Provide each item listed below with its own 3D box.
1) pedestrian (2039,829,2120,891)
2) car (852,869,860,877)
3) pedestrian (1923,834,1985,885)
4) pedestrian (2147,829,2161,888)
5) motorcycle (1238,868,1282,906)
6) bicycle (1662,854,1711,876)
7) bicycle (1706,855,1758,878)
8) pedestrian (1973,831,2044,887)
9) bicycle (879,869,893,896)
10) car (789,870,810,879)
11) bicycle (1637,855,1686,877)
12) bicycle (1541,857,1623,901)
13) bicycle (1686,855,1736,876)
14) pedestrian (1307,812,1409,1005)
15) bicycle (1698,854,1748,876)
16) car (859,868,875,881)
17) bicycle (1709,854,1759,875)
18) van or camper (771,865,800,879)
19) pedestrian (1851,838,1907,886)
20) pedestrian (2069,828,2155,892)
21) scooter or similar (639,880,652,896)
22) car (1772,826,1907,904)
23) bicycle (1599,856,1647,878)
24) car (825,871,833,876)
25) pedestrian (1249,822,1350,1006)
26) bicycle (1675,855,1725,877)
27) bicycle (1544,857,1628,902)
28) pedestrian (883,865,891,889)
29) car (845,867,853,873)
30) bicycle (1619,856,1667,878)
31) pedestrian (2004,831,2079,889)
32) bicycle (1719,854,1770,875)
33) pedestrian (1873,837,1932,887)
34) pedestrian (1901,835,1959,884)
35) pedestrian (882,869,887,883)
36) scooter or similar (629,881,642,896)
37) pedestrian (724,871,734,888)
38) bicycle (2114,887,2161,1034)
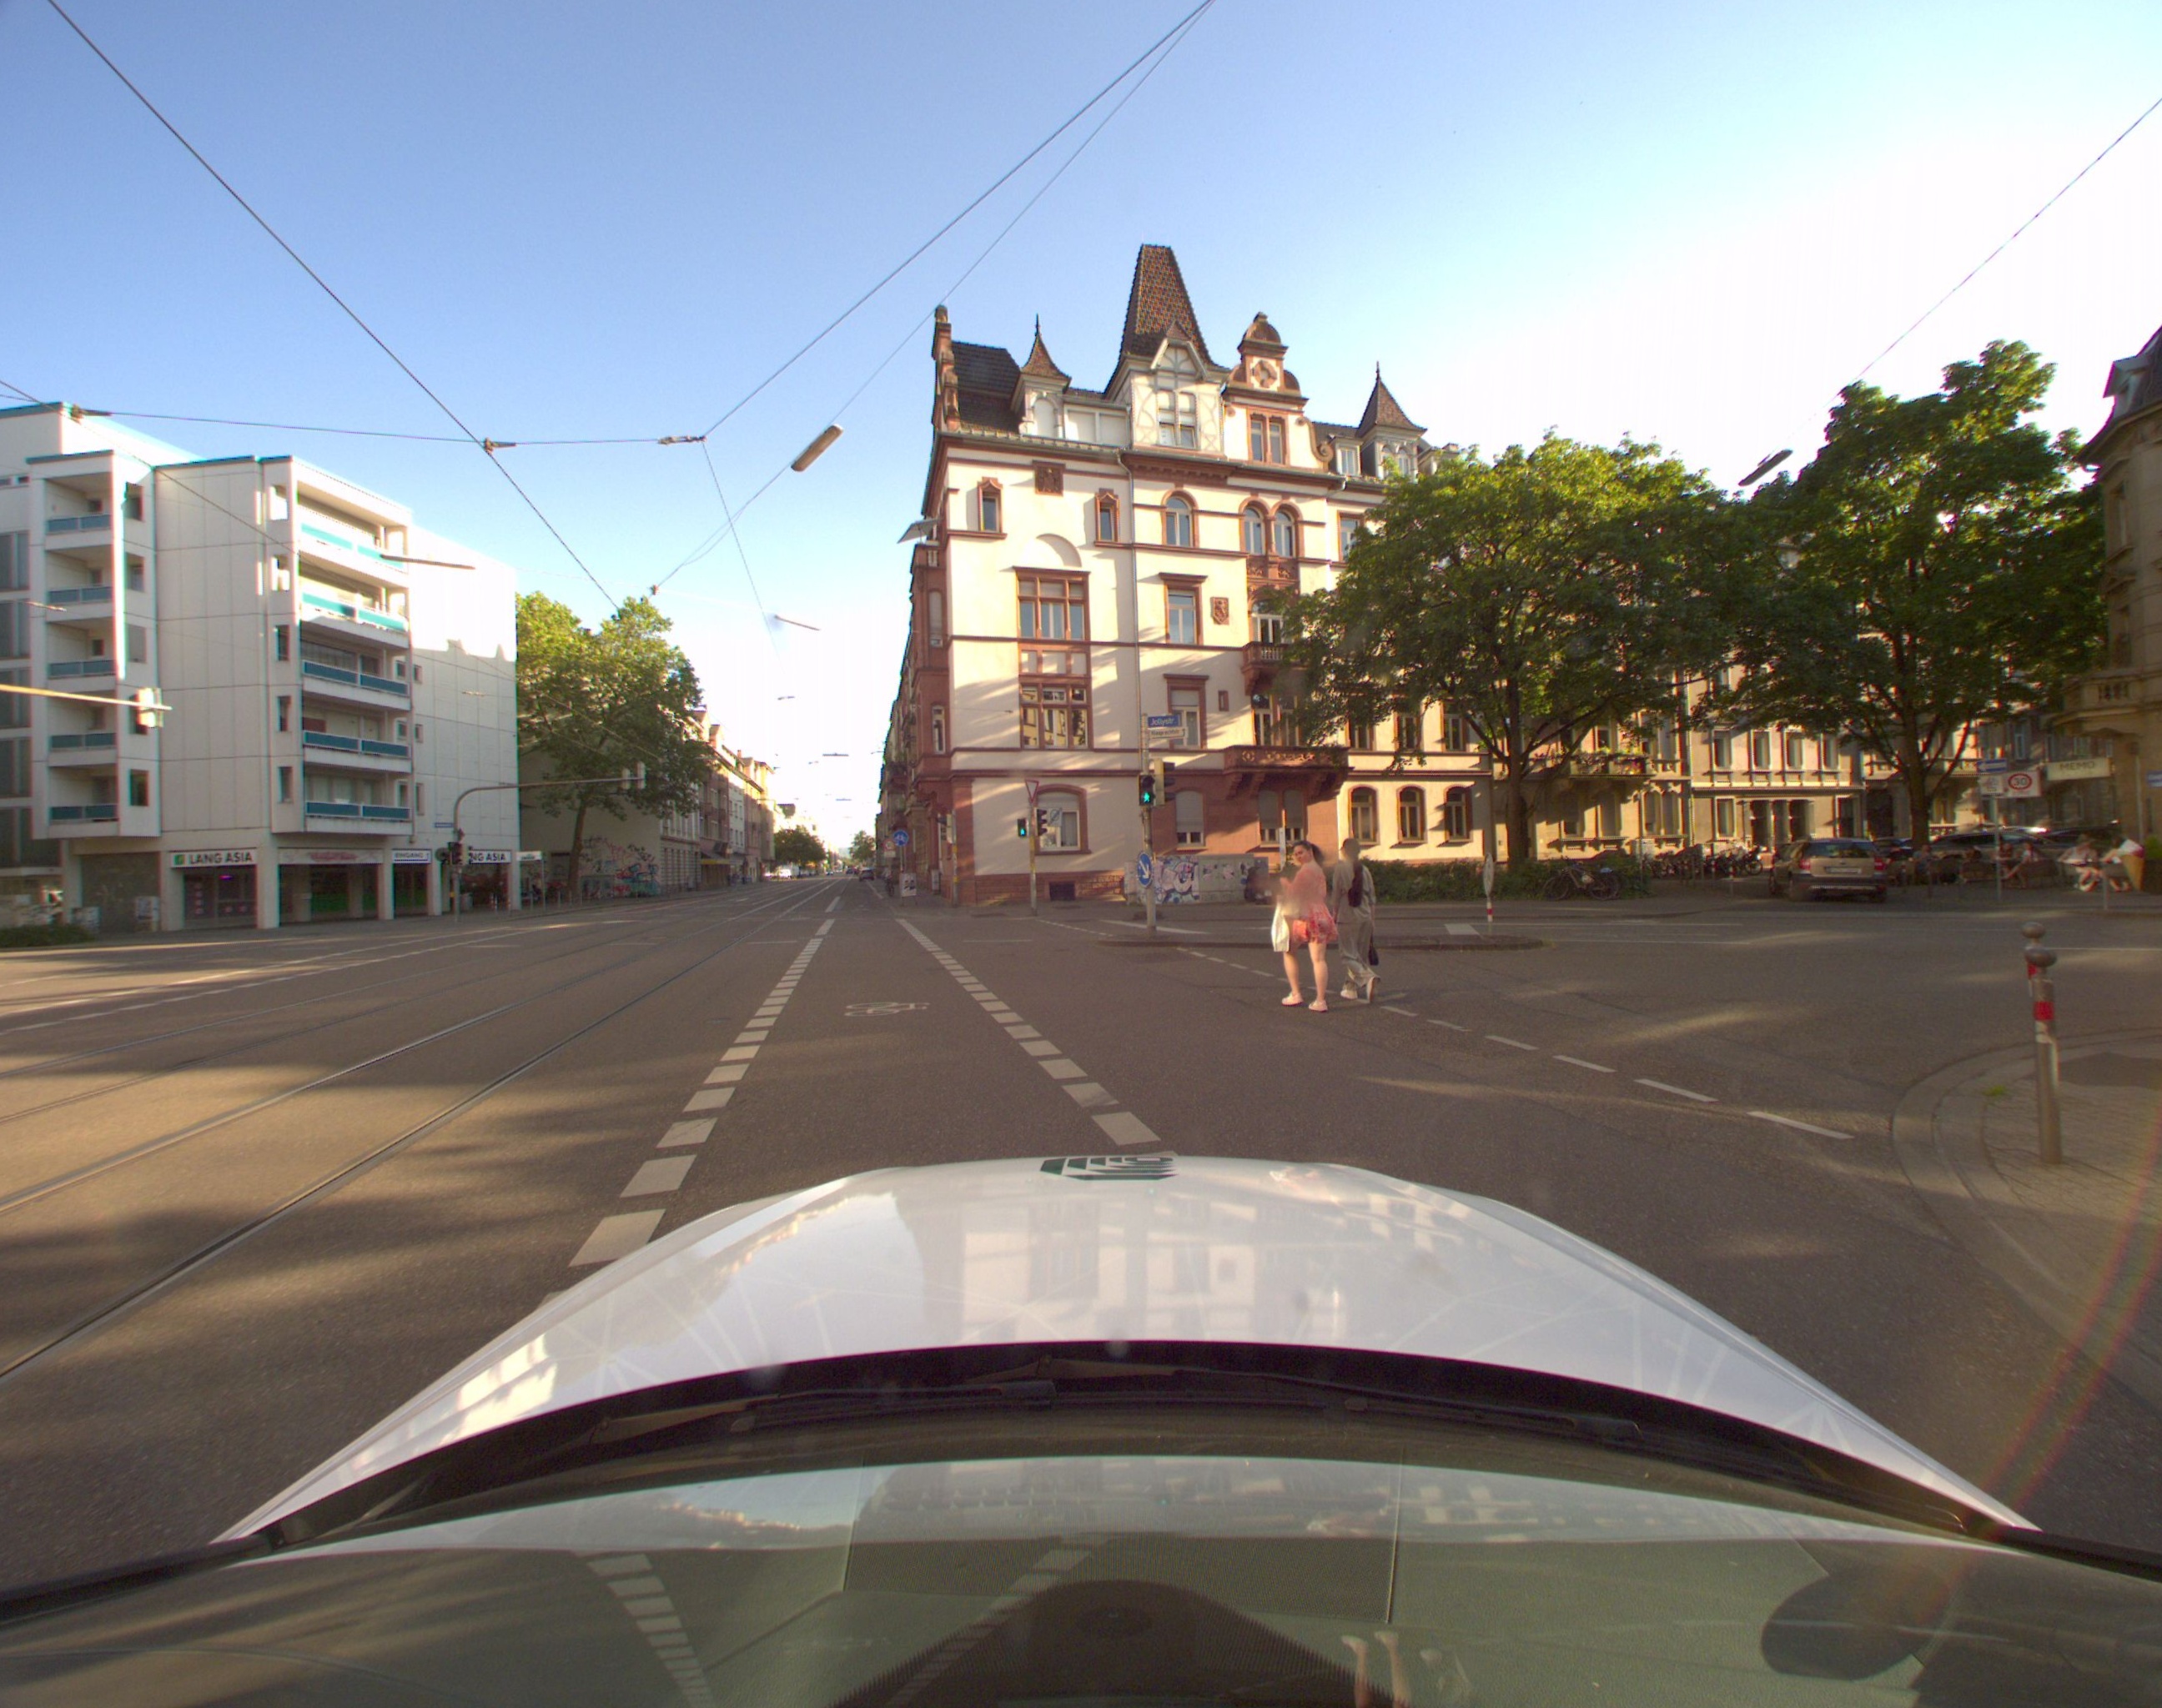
[{"bbox_3d":[25.005,0.151,20.416,0.905,1.428,0.769,-6,-2,17],"label":"pedestrian"},{"bbox_3d":[-56.649,4.779,205.146,1.998,1.728,3.978,-1,-1,-16],"label":"car"},{"bbox_3d":[26.287,0.169,24.539,0.905,1.428,0.769,-6,-2,18],"label":"pedestrian"},{"bbox_3d":[27.042,0.084,19.864,0.757,1.428,0.919,-6,-2,15],"label":"pedestrian"},{"bbox_3d":[5.631,1.022,25.748,0.718,1.020,2.284,-2,1,-4],"label":"motorcycle"},{"bbox_3d":[25.975,0.485,34.975,0.492,0.893,1.789,-2,-1,-13],"label":"bicycle"},{"bbox_3d":[27.336,0.519,34.194,1.786,0.893,0.493,-2,-1,-1],"label":"bicycle"},{"bbox_3d":[25.534,0.144,22.433,0.905,1.428,0.769,-6,-2,17],"label":"pedestrian"},{"bbox_3d":[-10.109,1.471,42.324,0.654,1.323,2.167,-2,-1,-13],"label":"bicycle"},{"bbox_3d":[-64.535,4.737,186.764,4.021,2.014,1.976,-1,-1,-40],"label":"car"},{"bbox_3d":[24.541,0.514,34.481,0.492,0.893,1.789,-2,-1,-13],"label":"bicycle"},{"bbox_3d":[13.988,0.696,22.781,1.842,1.161,0.562,-2,1,22],"label":"bicycle"},{"bbox_3d":[27.506,0.502,35.578,0.492,0.893,1.789,-2,-1,-13],"label":"bicycle"},{"bbox_3d":[2.879,0.550,8.520,0.690,1.909,0.668,-2,-2,-10],"label":"pedestrian"},{"bbox_3d":[28.154,0.489,35.769,0.492,0.893,1.789,-2,-1,-13],"label":"bicycle"},{"bbox_3d":[-28.602,2.711,108.780,1.953,1.684,3.980,-2,-1,-14],"label":"car"},{"bbox_3d":[28.704,0.475,35.841,0.492,0.893,1.789,-2,-1,-13],"label":"bicycle"},{"bbox_3d":[-55.442,3.396,153.048,1.975,2.563,4.678,-3,-2,44],"label":"van or camper"},{"bbox_3d":[25.508,0.256,26.050,0.905,1.428,0.769,-6,-2,17],"label":"pedestrian"},{"bbox_3d":[24.739,0.140,19.556,0.905,1.428,0.769,-6,-2,18],"label":"pedestrian"},{"bbox_3d":[-30.848,2.405,57.651,0.518,1.057,1.469,-2,-1,-17],"label":"scooter or similar"},{"bbox_3d":[19.784,0.194,21.436,1.974,1.617,4.027,3,6,35],"label":"car"},{"bbox_3d":[22.689,0.557,34.124,0.492,0.893,1.789,-2,-1,-13],"label":"bicycle"},{"bbox_3d":[-68.766,5.308,222.039,1.823,1.442,3.978,-1,-1,-15],"label":"car"},{"bbox_3d":[2.230,0.592,8.395,0.803,1.800,0.761,1,-1,0],"label":"pedestrian"},{"bbox_3d":[26.862,0.518,35.370,0.492,0.893,1.789,-2,-1,-13],"label":"bicycle"},{"bbox_3d":[13.749,0.691,22.225,1.842,1.161,0.562,-2,1,22],"label":"bicycle"},{"bbox_3d":[-14.910,1.750,62.656,0.545,1.780,0.501,-2,-1,-15],"label":"pedestrian"},{"bbox_3d":[-68.618,4.867,240.877,1.998,1.728,3.978,-1,-1,-16],"label":"car"},{"bbox_3d":[23.671,0.534,34.316,0.492,0.893,1.789,-2,-1,-13],"label":"bicycle"},{"bbox_3d":[25.250,0.166,21.431,0.905,1.428,0.769,-6,-2,18],"label":"pedestrian"},{"bbox_3d":[29.321,0.462,36.013,0.492,0.893,1.789,-2,-1,-13],"label":"bicycle"},{"bbox_3d":[25.241,0.242,25.042,0.905,1.428,0.769,-6,-2,18],"label":"pedestrian"},{"bbox_3d":[26.705,0.165,25.627,0.905,1.428,0.769,-6,-2,17],"label":"pedestrian"},{"bbox_3d":[-25.645,2.881,106.443,0.545,1.780,0.745,-2,-1,-15],"label":"pedestrian"},{"bbox_3d":[-31.434,2.422,57.448,0.518,1.045,1.469,-2,-1,-17],"label":"scooter or similar"},{"bbox_3d":[-34.820,2.518,80.571,0.702,1.728,0.644,-2,-1,-16],"label":"pedestrian"},{"bbox_3d":[8.196,0.748,5.596,0.777,1.045,1.060,-2,-2,-6],"label":"bicycle"}]
